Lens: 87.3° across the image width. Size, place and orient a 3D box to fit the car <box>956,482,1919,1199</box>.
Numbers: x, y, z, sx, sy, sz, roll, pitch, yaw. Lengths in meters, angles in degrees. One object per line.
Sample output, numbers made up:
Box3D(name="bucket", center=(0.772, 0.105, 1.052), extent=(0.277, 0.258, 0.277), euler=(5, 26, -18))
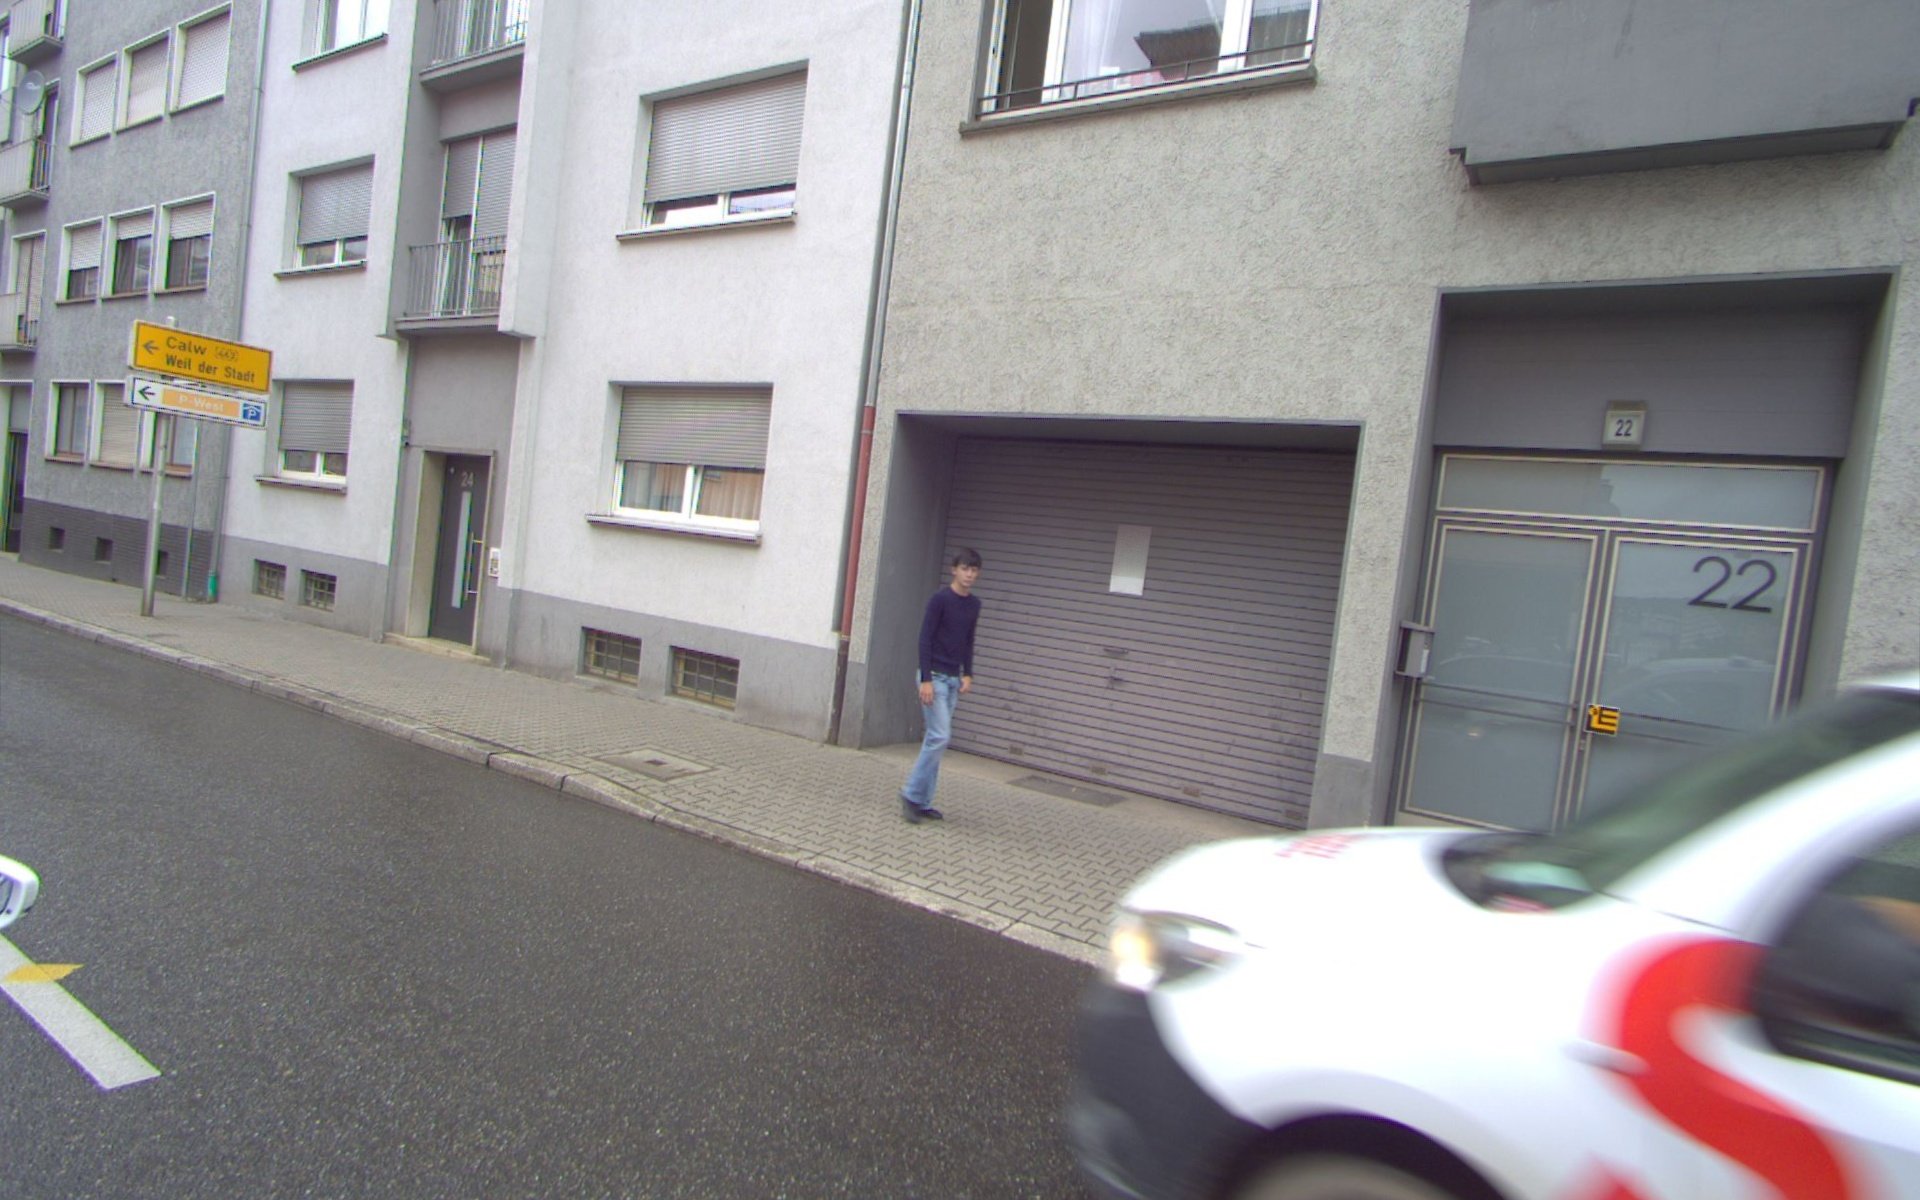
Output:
Box3D(name="car", center=(2.529, 0.935, 1.794), extent=(4.670, 1.796, 1.942), euler=(7, -1, 34))

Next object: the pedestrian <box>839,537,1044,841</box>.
Box3D(name="pedestrian", center=(-0.125, 0.538, 6.673), extent=(1.039, 1.802, 0.643), euler=(7, 4, 31))
